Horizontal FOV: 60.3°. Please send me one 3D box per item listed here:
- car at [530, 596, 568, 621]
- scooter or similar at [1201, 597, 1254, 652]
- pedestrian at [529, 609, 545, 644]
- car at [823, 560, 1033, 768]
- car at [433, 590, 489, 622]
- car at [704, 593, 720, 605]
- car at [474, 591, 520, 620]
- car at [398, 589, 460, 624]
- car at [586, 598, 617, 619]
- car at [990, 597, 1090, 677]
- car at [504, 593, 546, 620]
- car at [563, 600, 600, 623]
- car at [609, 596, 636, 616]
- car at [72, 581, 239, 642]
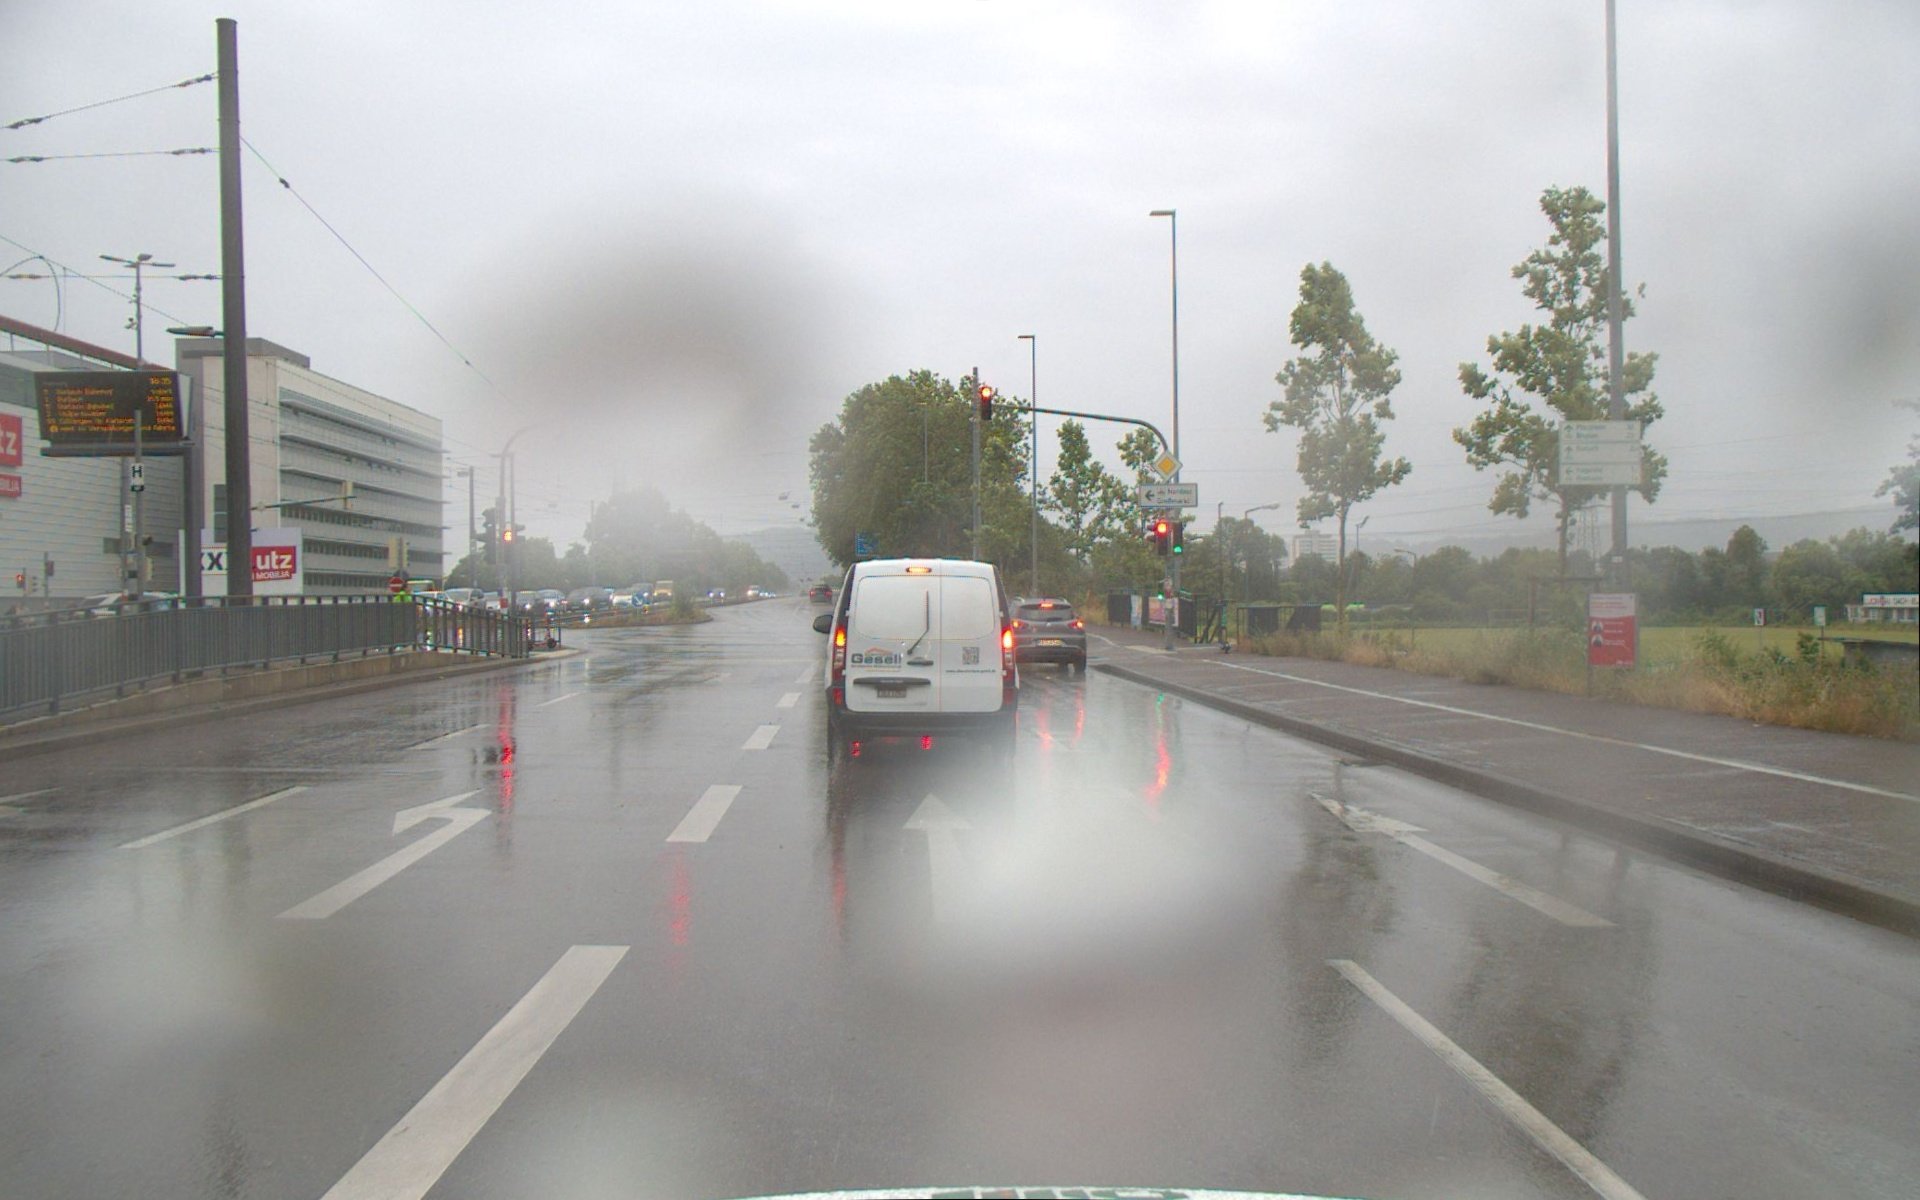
[{"bbox_3d":[-25.226,0.552,101.592,1.528,1.451,3.566,2,-1,-3],"label":"car"},{"bbox_3d":[6.277,0.549,38.937,0.676,1.232,3.019,-1,0,-1],"label":"scooter or similar"},{"bbox_3d":[-11.211,0.707,43.830,0.309,0.913,0.380,2,0,-5],"label":"pedestrian"},{"bbox_3d":[-0.442,0.529,16.321,1.720,1.780,4.164,1,1,-6],"label":"car"},{"bbox_3d":[-24.367,0.289,80.818,1.676,1.451,3.806,2,-1,-3],"label":"car"},{"bbox_3d":[-30.824,-0.129,205.650,1.528,1.451,3.566,2,-1,-3],"label":"car"},{"bbox_3d":[-24.632,0.304,88.045,1.528,1.451,3.566,2,-1,-3],"label":"car"},{"bbox_3d":[-24.017,0.324,74.924,1.676,1.451,3.806,2,-1,-3],"label":"car"},{"bbox_3d":[-25.785,0.615,119.000,1.528,1.451,3.566,2,-1,-3],"label":"car"},{"bbox_3d":[1.616,0.738,34.412,1.651,1.534,3.918,1,0,-3],"label":"car"},{"bbox_3d":[-24.997,0.403,95.112,1.528,1.451,3.566,2,-1,-3],"label":"car"},{"bbox_3d":[-24.908,0.785,108.922,1.676,1.451,3.806,2,-1,-3],"label":"car"},{"bbox_3d":[-26.739,0.478,131.052,1.528,1.451,3.566,2,-1,-3],"label":"car"},{"bbox_3d":[-24.711,0.380,50.972,4.385,1.691,1.942,2,-2,-21],"label":"car"}]
